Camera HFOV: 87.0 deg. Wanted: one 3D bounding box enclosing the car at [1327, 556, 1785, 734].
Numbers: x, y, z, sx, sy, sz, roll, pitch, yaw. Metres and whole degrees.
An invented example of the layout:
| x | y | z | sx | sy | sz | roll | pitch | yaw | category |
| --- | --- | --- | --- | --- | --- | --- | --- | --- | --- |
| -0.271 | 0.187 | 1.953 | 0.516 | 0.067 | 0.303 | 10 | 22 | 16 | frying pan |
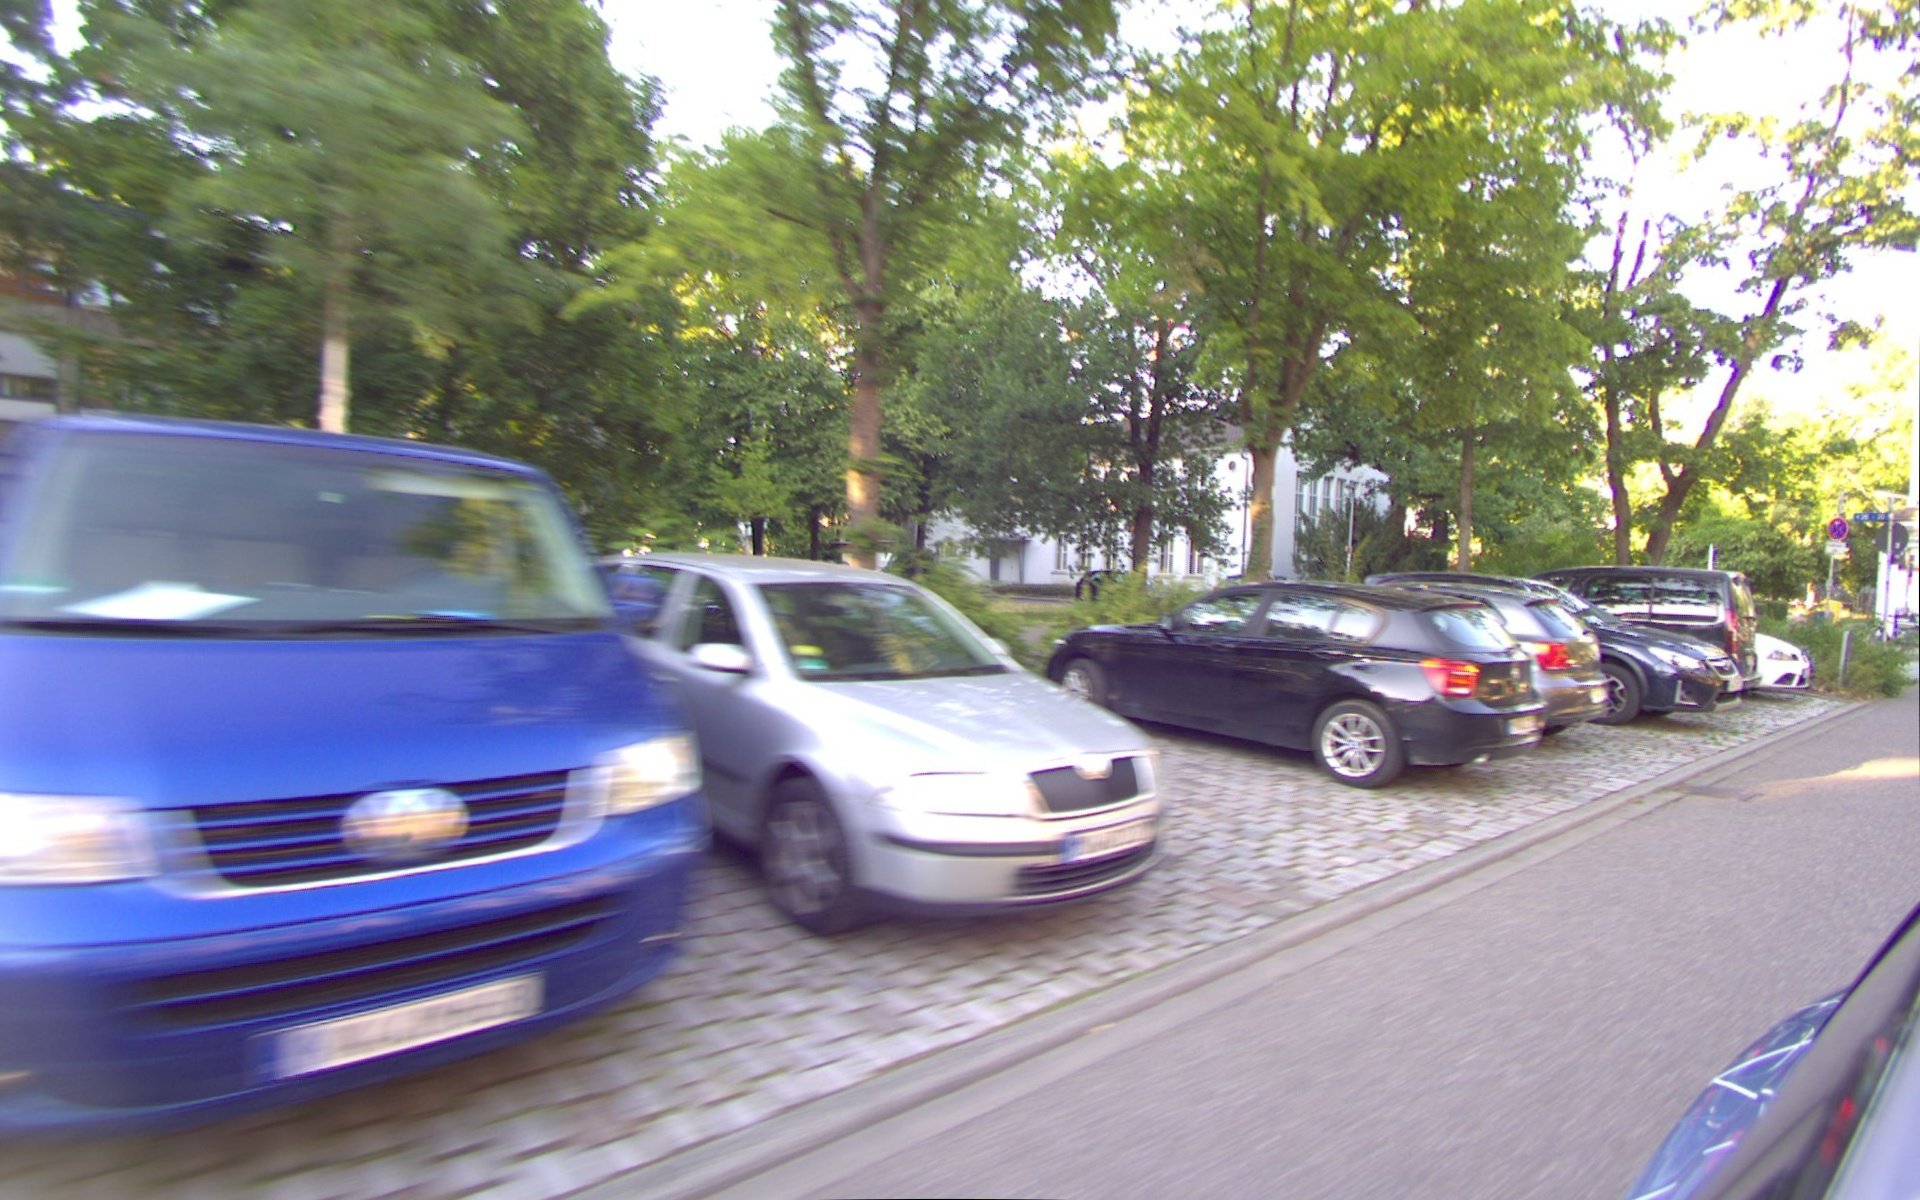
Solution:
| x | y | z | sx | sy | sz | roll | pitch | yaw | category |
| --- | --- | --- | --- | --- | --- | --- | --- | --- | --- |
| 6.996 | 0.376 | 12.287 | 1.843 | 1.572 | 4.373 | 0 | 4 | -41 | car |

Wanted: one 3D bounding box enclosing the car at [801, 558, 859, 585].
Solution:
| x | y | z | sx | sy | sz | roll | pitch | yaw | category |
| --- | --- | --- | --- | --- | --- | --- | --- | --- | --- |
| -8.418 | -1.870 | 65.446 | 1.965 | 1.627 | 3.767 | 0 | 2 | -40 | car |

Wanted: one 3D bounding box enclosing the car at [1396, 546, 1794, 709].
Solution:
| x | y | z | sx | sy | sz | roll | pitch | yaw | category |
| --- | --- | --- | --- | --- | --- | --- | --- | --- | --- |
| 8.835 | 0.247 | 14.416 | 1.887 | 1.802 | 4.373 | 0 | 4 | -41 | car |

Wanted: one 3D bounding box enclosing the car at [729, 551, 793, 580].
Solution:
| x | y | z | sx | sy | sz | roll | pitch | yaw | category |
| --- | --- | --- | --- | --- | --- | --- | --- | --- | --- |
| -10.931 | -1.888 | 55.538 | 1.706 | 1.495 | 3.995 | 0 | 2 | -40 | car |

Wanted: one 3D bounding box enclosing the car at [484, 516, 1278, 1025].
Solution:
| x | y | z | sx | sy | sz | roll | pitch | yaw | category |
| --- | --- | --- | --- | --- | --- | --- | --- | --- | --- |
| -0.946 | 0.400 | 5.731 | 1.883 | 1.572 | 4.938 | 0 | 4 | -41 | car |

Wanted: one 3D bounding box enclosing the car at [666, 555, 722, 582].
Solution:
| x | y | z | sx | sy | sz | roll | pitch | yaw | category |
| --- | --- | --- | --- | --- | --- | --- | --- | --- | --- |
| -16.297 | -1.942 | 61.912 | 1.706 | 1.495 | 3.995 | 0 | 2 | -40 | car |

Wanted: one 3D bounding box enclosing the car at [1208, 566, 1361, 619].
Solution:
| x | y | z | sx | sy | sz | roll | pitch | yaw | category |
| --- | --- | --- | --- | --- | --- | --- | --- | --- | --- |
| 9.919 | -0.262 | 31.163 | 1.803 | 1.460 | 4.148 | 0 | 2 | -40 | car |

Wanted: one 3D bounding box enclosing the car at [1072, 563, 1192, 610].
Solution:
| x | y | z | sx | sy | sz | roll | pitch | yaw | category |
| --- | --- | --- | --- | --- | --- | --- | --- | --- | --- |
| 6.014 | -0.501 | 35.650 | 1.706 | 1.495 | 3.995 | 0 | 2 | -40 | car |

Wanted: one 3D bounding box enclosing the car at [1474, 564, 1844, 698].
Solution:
| x | y | z | sx | sy | sz | roll | pitch | yaw | category |
| --- | --- | --- | --- | --- | --- | --- | --- | --- | --- |
| 10.643 | 0.359 | 15.698 | 1.697 | 1.572 | 4.373 | 0 | 4 | -41 | car |

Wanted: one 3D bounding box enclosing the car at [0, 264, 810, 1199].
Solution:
| x | y | z | sx | sy | sz | roll | pitch | yaw | category |
| --- | --- | --- | --- | --- | --- | --- | --- | --- | --- |
| -2.758 | 0.197 | 4.110 | 1.883 | 1.938 | 4.863 | 0 | 4 | -41 | car |

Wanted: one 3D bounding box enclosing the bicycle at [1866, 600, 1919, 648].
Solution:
| x | y | z | sx | sy | sz | roll | pitch | yaw | category |
| --- | --- | --- | --- | --- | --- | --- | --- | --- | --- |
| 24.943 | 0.644 | 26.701 | 2.237 | 1.162 | 0.495 | 3 | 4 | -21 | bicycle |

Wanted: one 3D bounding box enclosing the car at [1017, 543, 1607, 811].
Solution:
| x | y | z | sx | sy | sz | roll | pitch | yaw | category |
| --- | --- | --- | --- | --- | --- | --- | --- | --- | --- |
| 2.716 | 0.399 | 8.695 | 1.887 | 1.555 | 4.373 | 0 | 4 | -41 | car |

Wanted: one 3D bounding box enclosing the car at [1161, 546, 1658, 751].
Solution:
| x | y | z | sx | sy | sz | roll | pitch | yaw | category |
| --- | --- | --- | --- | --- | --- | --- | --- | --- | --- |
| 4.511 | 0.325 | 10.735 | 1.887 | 1.555 | 4.373 | 0 | 4 | -41 | car |

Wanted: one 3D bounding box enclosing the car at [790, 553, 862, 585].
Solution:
| x | y | z | sx | sy | sz | roll | pitch | yaw | category |
| --- | --- | --- | --- | --- | --- | --- | --- | --- | --- |
| -6.732 | -1.577 | 50.588 | 1.706 | 1.495 | 3.995 | 0 | 2 | -40 | car |
